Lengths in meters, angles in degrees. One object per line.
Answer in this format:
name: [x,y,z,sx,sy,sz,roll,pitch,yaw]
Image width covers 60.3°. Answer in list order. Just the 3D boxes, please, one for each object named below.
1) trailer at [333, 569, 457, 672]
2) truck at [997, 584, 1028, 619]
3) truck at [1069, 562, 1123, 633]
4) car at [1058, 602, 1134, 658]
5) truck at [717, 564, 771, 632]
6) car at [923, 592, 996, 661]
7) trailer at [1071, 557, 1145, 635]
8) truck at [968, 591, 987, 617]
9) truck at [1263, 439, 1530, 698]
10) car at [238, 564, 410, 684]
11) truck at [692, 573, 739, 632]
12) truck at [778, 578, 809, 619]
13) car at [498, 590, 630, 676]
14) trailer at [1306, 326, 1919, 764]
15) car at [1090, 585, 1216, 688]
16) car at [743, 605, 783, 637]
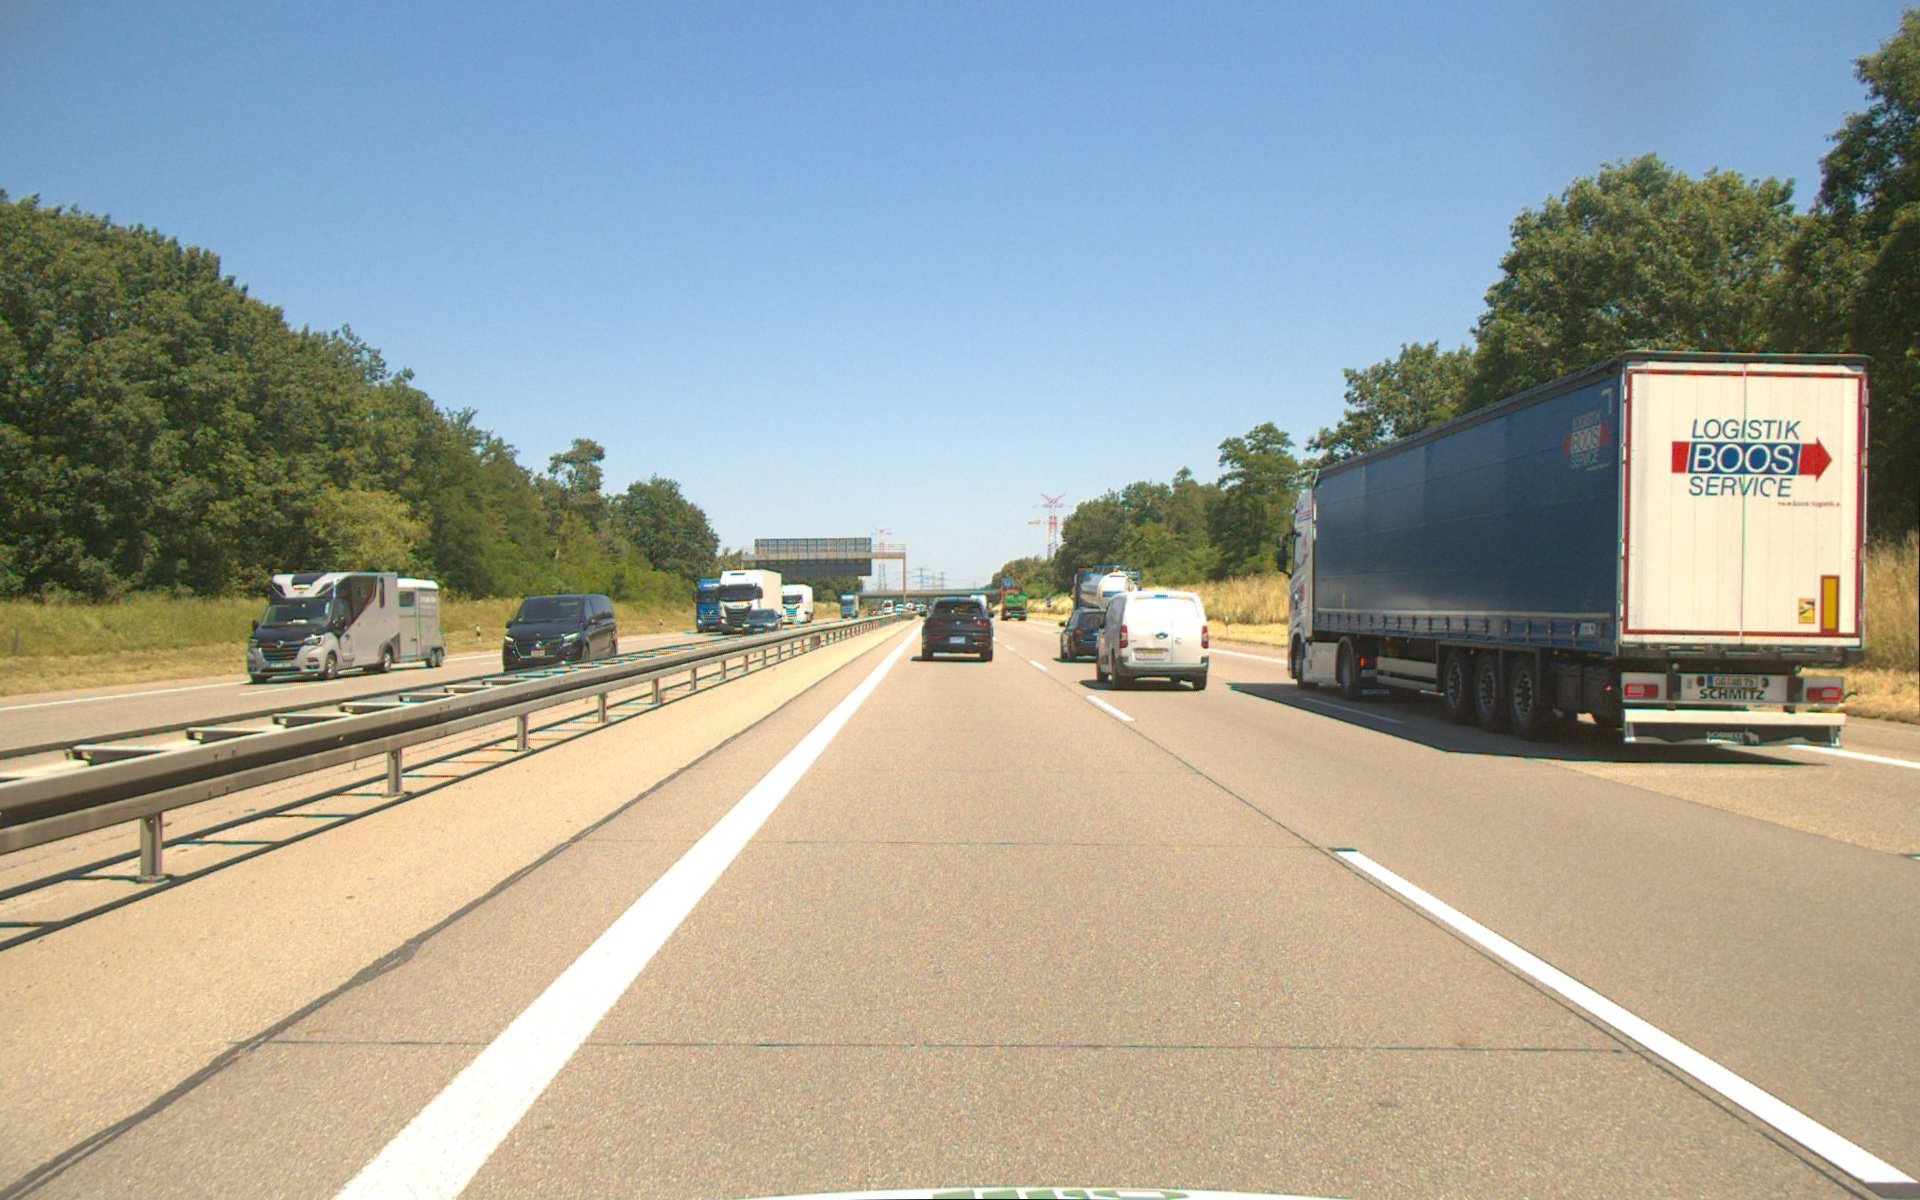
trailer: [-17.041,0.590,50.129,2.168,2.907,4.583,-2,0,-1]
truck: [6.049,0.193,192.212,2.928,3.794,10.086,1,0,-1]
truck: [7.790,-0.130,95.318,2.628,3.904,4.443,1,0,-1]
car: [3.794,0.824,46.710,1.738,1.498,3.871,0,0,-1]
truck: [-13.634,-0.140,104.885,2.615,4.059,6.339,-2,0,-1]
car: [-0.077,0.702,47.052,1.901,1.782,5.811,1,1,-2]
trailer: [7.897,-0.169,89.575,2.628,3.904,12.007,1,0,-1]
truck: [1.951,0.446,187.602,2.018,2.965,7.001,0,0,-1]
truck: [7.891,-0.515,30.784,3.219,4.293,6.006,1,0,-1]
car: [-16.981,0.599,44.601,2.168,2.907,6.452,-2,0,-1]
truck: [-18.486,0.177,125.142,2.615,4.242,6.187,-2,0,-1]
truck: [-18.052,-0.139,179.696,2.647,4.259,6.187,-2,0,-1]
car: [-9.557,0.742,40.394,1.838,1.880,5.833,-2,0,-1]
trailer: [8.048,-0.508,23.225,3.219,4.293,13.561,1,0,-1]
car: [3.689,0.674,32.469,1.777,1.859,5.109,0,0,-1]
car: [-10.197,1.067,85.894,1.584,1.508,4.623,-2,0,-1]
